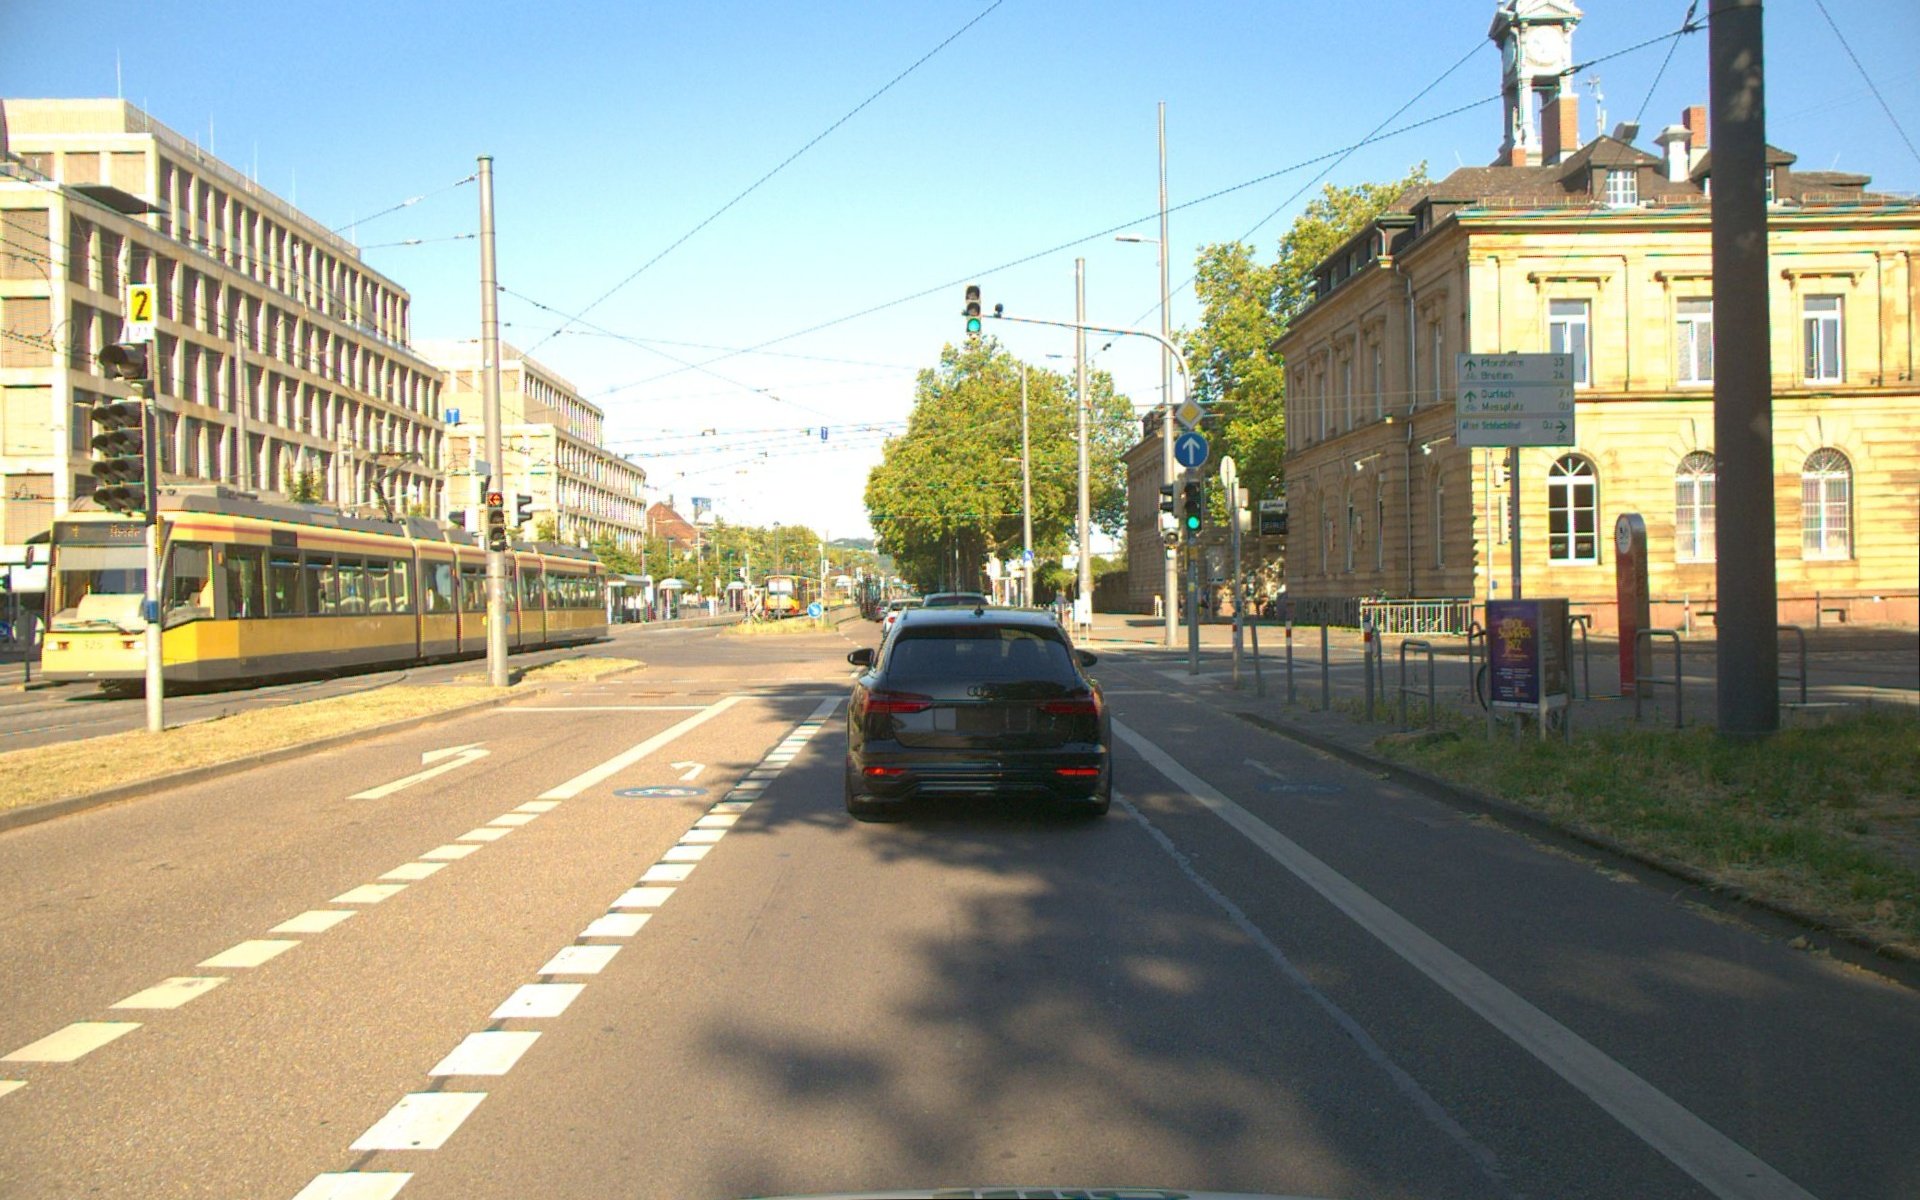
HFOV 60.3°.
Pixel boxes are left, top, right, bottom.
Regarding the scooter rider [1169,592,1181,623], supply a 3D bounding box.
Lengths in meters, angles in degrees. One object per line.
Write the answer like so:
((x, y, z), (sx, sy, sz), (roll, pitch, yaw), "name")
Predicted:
((10.144, 0.363, 78.077), (0.475, 1.410, 0.377), (-2, -1, -4), "scooter rider")

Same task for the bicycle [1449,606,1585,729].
((5.252, 0.608, 15.694), (0.529, 1.080, 1.769), (-2, 0, -5), "bicycle")

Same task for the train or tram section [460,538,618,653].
((-14.536, -0.136, 58.258), (2.756, 3.550, 12.149), (-1, 0, -2), "train or tram section")

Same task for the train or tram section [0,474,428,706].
((-13.770, -0.158, 32.379), (2.756, 3.550, 13.199), (-1, 0, -2), "train or tram section")

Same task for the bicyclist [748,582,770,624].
((-9.076, 0.143, 74.621), (0.746, 1.850, 0.759), (-1, 0, -23), "bicyclist")

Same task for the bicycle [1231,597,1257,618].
((14.416, 0.380, 83.883), (0.516, 1.065, 2.354), (-1, 0, -10), "bicycle")

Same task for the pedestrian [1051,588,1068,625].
((4.608, 0.318, 76.709), (0.668, 1.689, 0.758), (-1, 0, -4), "pedestrian")

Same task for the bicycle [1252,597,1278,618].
((15.460, 0.381, 83.899), (0.516, 1.065, 2.354), (-1, 0, -10), "bicycle")

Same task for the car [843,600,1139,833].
((0.155, 0.741, 12.556), (1.864, 1.446, 4.143), (1, 0, -1), "car")

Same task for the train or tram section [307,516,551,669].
((-14.153, -0.181, 45.590), (2.756, 3.550, 13.199), (-1, 0, -2), "train or tram section")

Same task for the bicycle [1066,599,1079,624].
((5.223, 0.529, 76.748), (0.426, 1.165, 1.339), (-1, 0, -3), "bicycle")

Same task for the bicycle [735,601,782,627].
((-9.086, 0.618, 74.595), (1.979, 1.127, 0.759), (-2, 0, -23), "bicycle")

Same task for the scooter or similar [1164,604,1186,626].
((10.149, 0.713, 78.068), (0.920, 0.983, 0.361), (-2, -1, -4), "scooter or similar")

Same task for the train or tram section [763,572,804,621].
((-13.486, -0.256, 127.115), (2.557, 3.511, 11.124), (-1, 0, -3), "train or tram section")

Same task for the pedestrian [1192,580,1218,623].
((11.079, 0.055, 74.856), (0.960, 1.898, 0.826), (-1, 0, -4), "pedestrian")

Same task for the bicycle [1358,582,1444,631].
((12.008, 0.184, 45.081), (2.094, 1.230, 0.765), (-3, 0, -4), "bicycle")

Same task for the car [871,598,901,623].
((-4.740, 0.661, 106.504), (1.864, 1.512, 4.143), (1, 0, -1), "car")

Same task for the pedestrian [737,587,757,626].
((-9.783, 0.315, 76.029), (0.731, 1.772, 0.658), (-1, 0, -26), "pedestrian")

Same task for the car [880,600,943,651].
((-1.499, 0.757, 51.842), (1.864, 1.512, 4.143), (1, 0, -1), "car")

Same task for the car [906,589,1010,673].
((-0.078, 0.558, 32.183), (1.864, 1.512, 4.143), (1, 0, -1), "car")

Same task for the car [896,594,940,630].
((-1.813, 0.498, 71.857), (1.864, 1.512, 4.143), (1, 0, -1), "car")
